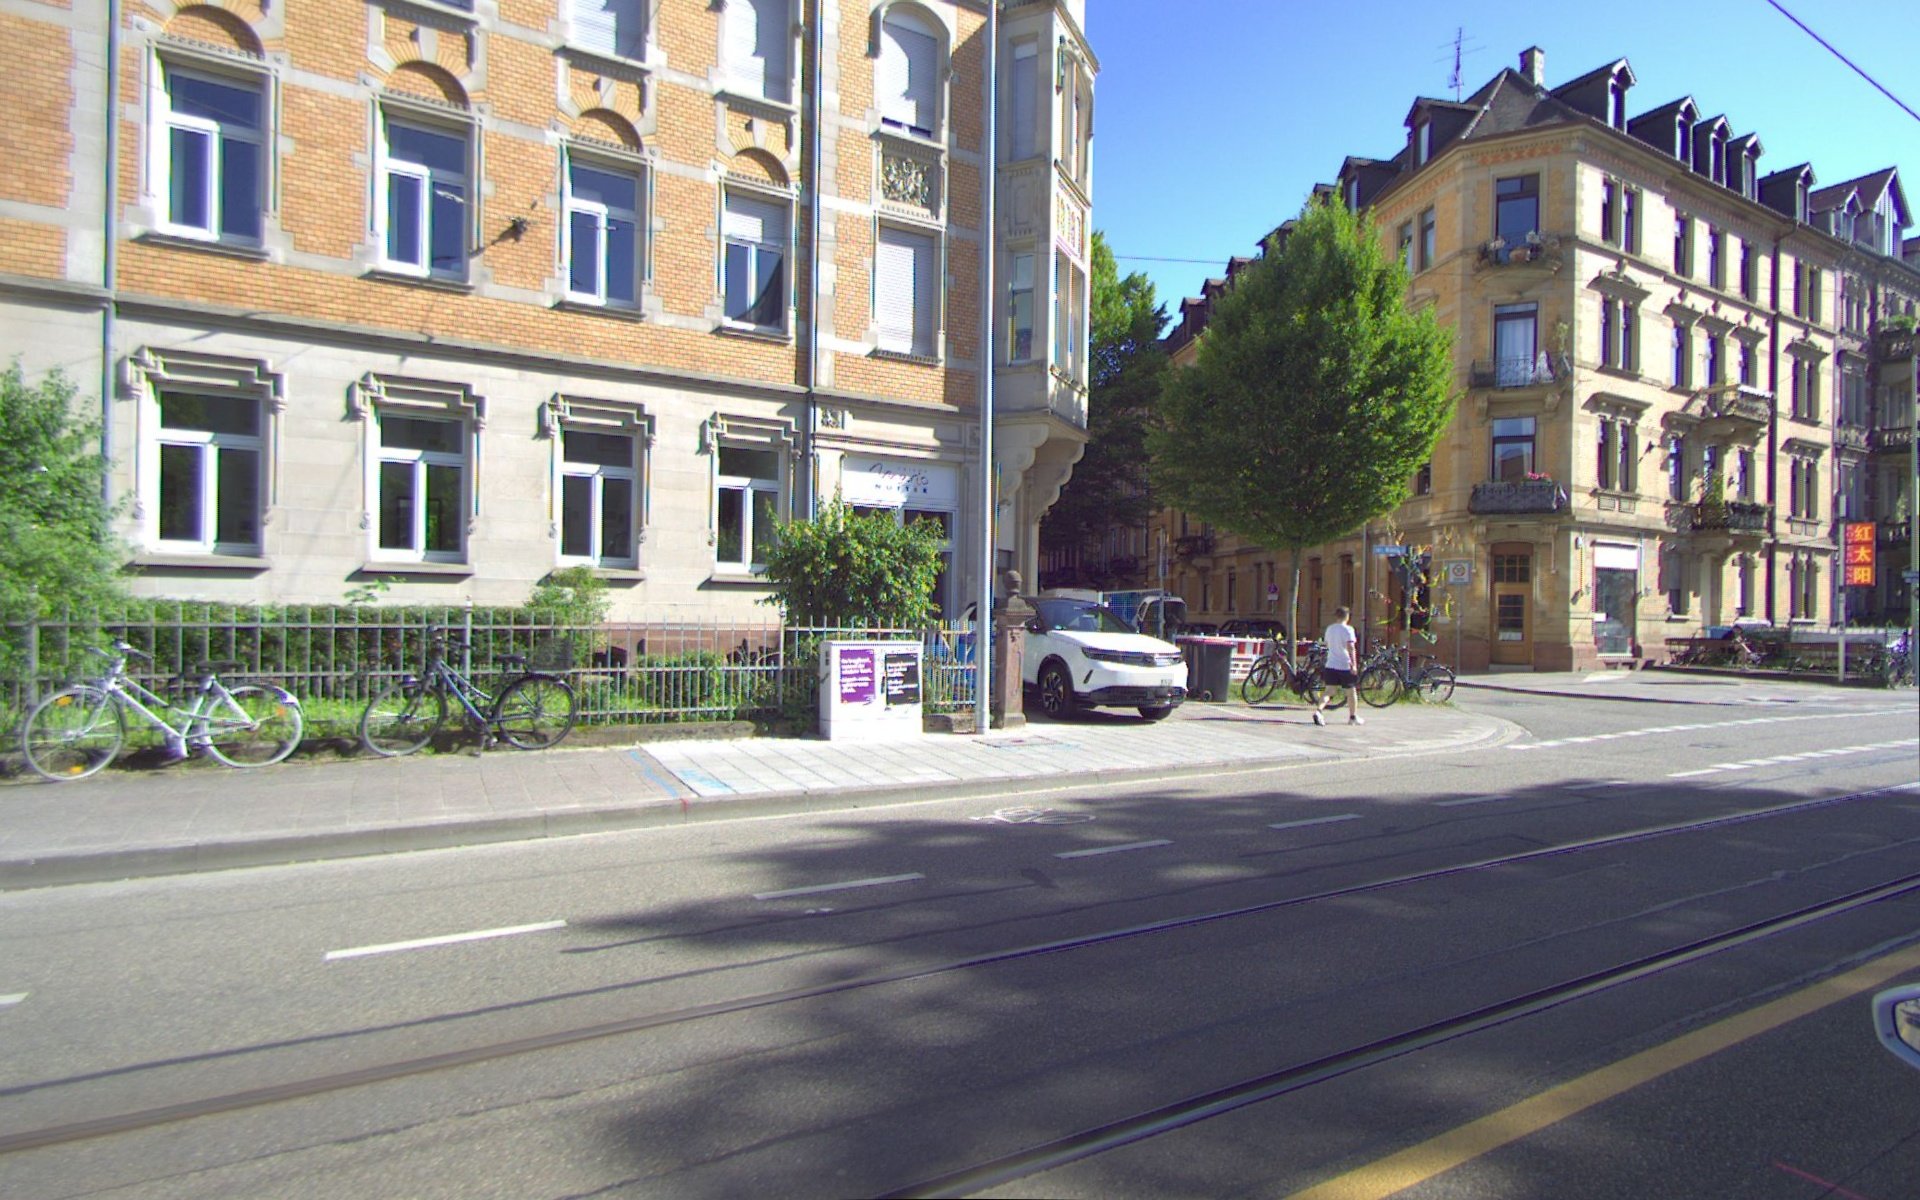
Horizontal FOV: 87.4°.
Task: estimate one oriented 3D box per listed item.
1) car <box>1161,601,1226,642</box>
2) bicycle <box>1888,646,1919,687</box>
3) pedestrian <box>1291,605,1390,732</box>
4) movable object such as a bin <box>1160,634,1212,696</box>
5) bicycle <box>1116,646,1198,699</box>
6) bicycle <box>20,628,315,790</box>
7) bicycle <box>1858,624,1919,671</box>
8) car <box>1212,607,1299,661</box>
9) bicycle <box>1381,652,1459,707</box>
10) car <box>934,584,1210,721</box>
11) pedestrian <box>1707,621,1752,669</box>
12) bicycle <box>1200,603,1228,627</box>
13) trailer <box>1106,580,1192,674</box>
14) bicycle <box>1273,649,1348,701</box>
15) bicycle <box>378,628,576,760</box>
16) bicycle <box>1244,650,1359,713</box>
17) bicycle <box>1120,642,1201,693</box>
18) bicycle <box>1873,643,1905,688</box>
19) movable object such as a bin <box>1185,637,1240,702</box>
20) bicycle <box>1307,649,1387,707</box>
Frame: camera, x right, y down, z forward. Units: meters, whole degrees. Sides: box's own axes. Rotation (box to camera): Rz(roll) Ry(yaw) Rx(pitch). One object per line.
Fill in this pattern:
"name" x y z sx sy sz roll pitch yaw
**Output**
"car" 10.174 0.971 43.940 1.570 1.750 3.532 0 -2 -8
"bicycle" 24.900 1.731 26.307 1.848 1.014 0.333 1 1 -30
"pedestrian" 5.511 0.970 14.552 1.072 1.746 0.824 2 0 -35
"movable object such as a bin" 4.071 1.167 18.127 0.704 1.085 0.576 1 1 -17
"bicycle" 3.818 1.391 19.533 1.513 0.926 0.247 2 -1 25
"bicycle" -6.233 0.797 7.999 0.555 1.047 1.761 5 4 35
"bicycle" 28.301 1.433 30.259 0.608 1.338 1.748 1 1 -39
"car" 10.966 1.224 37.515 1.805 1.773 3.586 -2 1 -7
"bicycle" 8.570 1.461 18.737 1.270 0.926 0.620 2 -1 25
"car" 1.449 0.653 14.937 1.941 1.665 4.429 2 0 -27
"pedestrian" 22.617 1.318 29.534 0.570 1.370 0.897 1 -2 -28
"bicycle" 12.406 0.734 49.101 0.545 1.141 2.130 2 0 -8
"trailer" 5.781 0.852 31.029 1.794 2.730 2.927 2 -2 -6
"bicycle" 6.817 1.445 19.573 1.268 0.926 0.621 2 -1 8
"bicycle" -4.514 0.831 9.539 0.554 1.047 1.766 1 2 23
"bicycle" 5.736 1.348 16.885 1.754 0.926 0.620 2 -1 25
"bicycle" 3.949 1.318 19.784 1.513 0.926 0.247 2 -1 25
"bicycle" 24.169 1.698 26.134 0.799 1.141 0.369 1 1 -30
"movable object such as a bin" 4.414 1.209 17.559 0.704 1.085 0.576 1 1 -17
"bicycle" 6.838 1.362 17.750 1.270 0.926 0.620 2 -1 25
